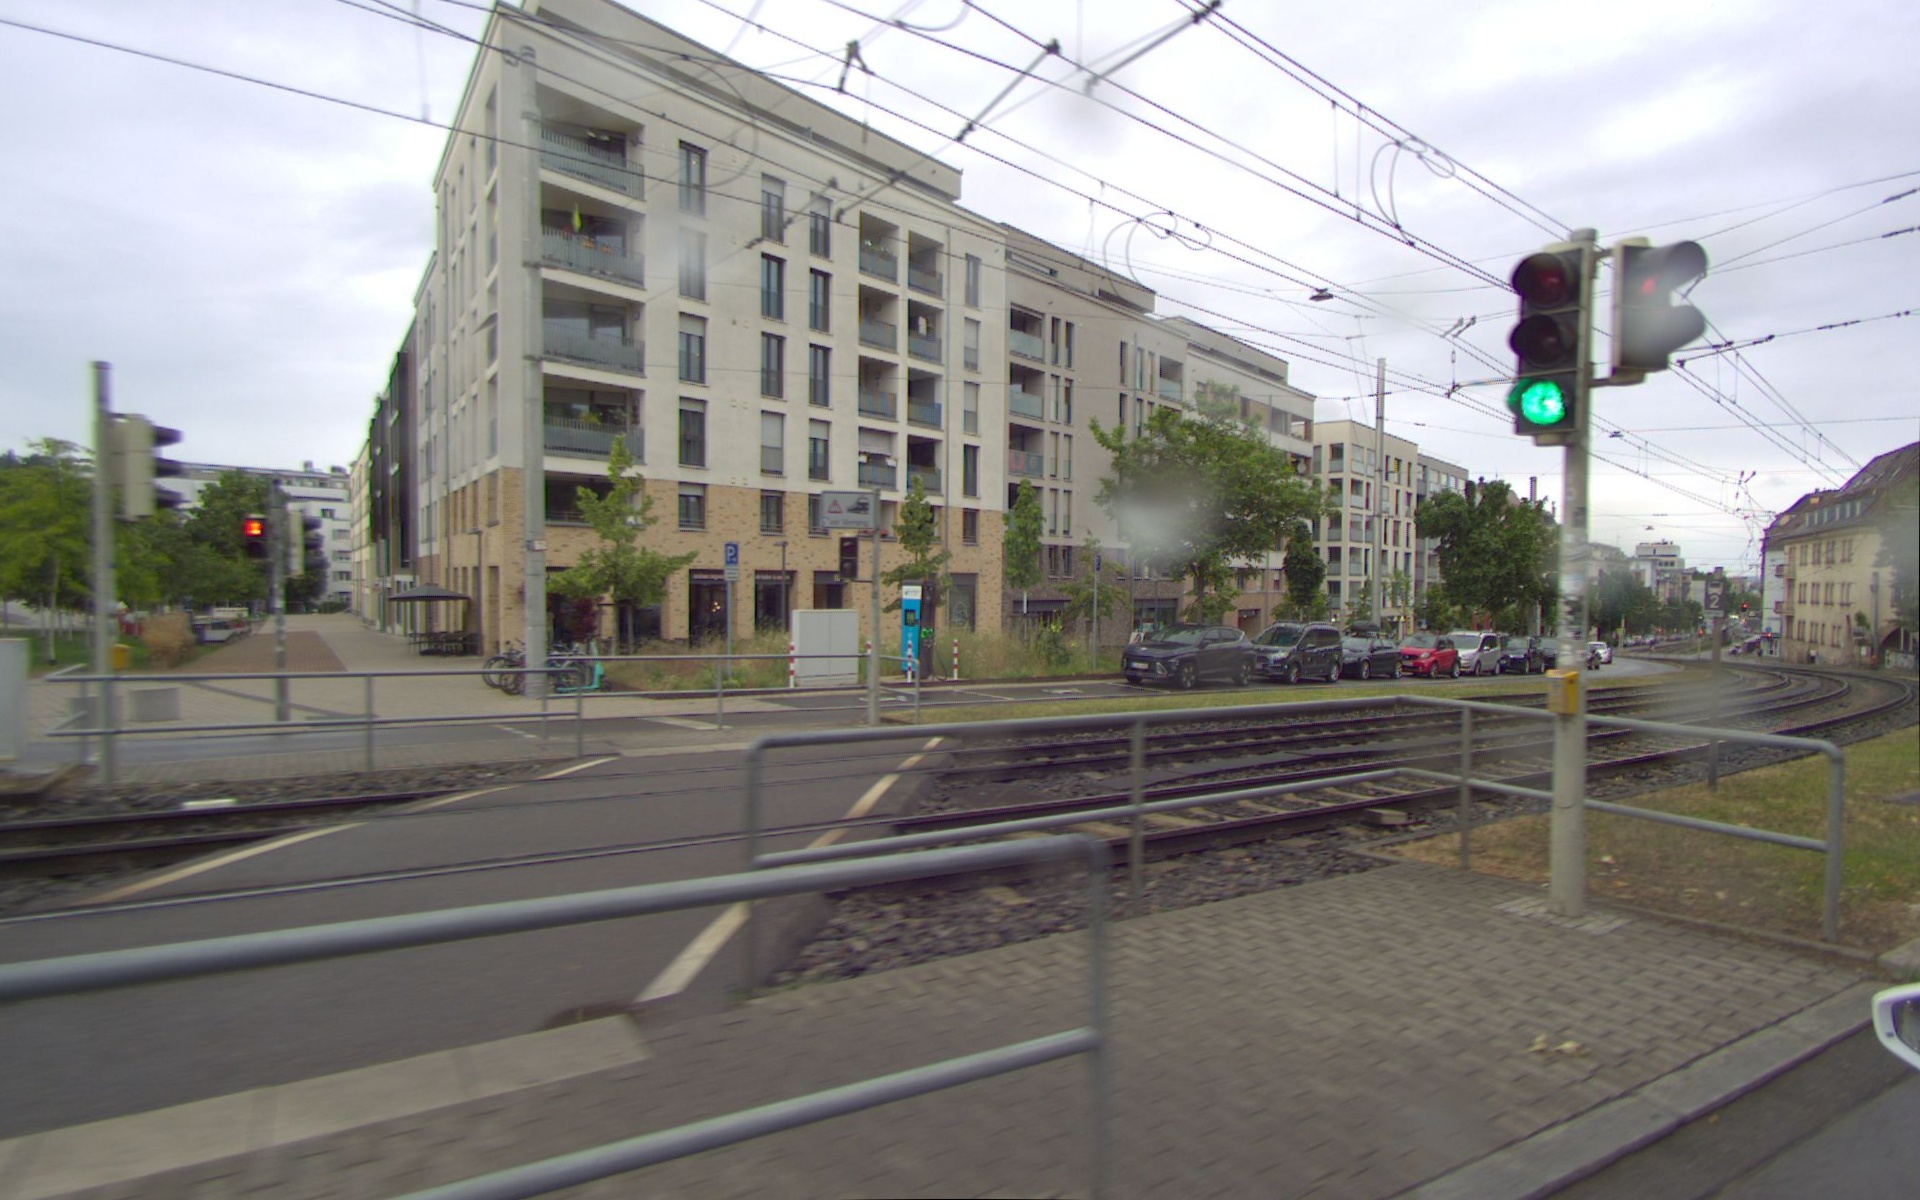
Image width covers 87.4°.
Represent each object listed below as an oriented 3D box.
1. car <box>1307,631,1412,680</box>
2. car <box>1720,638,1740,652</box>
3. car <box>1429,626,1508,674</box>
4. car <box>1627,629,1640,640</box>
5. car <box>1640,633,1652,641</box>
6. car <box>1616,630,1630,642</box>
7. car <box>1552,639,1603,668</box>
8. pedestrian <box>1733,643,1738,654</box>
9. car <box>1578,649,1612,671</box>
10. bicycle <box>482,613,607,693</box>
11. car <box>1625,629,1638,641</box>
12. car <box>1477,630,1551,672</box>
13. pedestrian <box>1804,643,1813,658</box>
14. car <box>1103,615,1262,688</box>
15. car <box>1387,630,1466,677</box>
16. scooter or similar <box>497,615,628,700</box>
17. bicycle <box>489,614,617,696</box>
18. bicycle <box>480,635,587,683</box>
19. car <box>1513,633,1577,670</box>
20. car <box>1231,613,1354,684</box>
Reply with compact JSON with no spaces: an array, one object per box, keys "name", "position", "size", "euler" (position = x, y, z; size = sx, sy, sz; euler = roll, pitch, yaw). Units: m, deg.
[{"name":"car","position":[13.410,1.828,33.579],"size":[4.369,1.466,1.535],"euler":[3,0,-44]},{"name":"car","position":[105.940,6.151,138.133],"size":[1.970,1.795,3.981],"euler":[1,-1,40]},{"name":"car","position":[20.266,1.989,39.982],"size":[1.645,1.771,4.232],"euler":[1,-1,44]},{"name":"car","position":[130.383,6.617,194.517],"size":[1.967,2.040,3.988],"euler":[1,-1,35]},{"name":"car","position":[139.451,7.534,204.267],"size":[1.967,1.684,3.988],"euler":[1,-1,35]},{"name":"car","position":[119.474,6.499,181.061],"size":[1.967,2.040,3.988],"euler":[1,-1,35]},{"name":"car","position":[34.589,2.984,56.204],"size":[1.942,1.450,4.182],"euler":[2,-1,39]},{"name":"pedestrian","position":[95.326,5.990,123.470],"size":[0.502,1.333,0.505],"euler":[1,-1,32]},{"name":"car","position":[45.725,4.277,72.322],"size":[1.743,1.498,3.721],"euler":[0,-2,37]},{"name":"bicycle","position":[-8.833,1.121,21.427],"size":[2.339,1.617,0.670],"euler":[2,-1,-37]},{"name":"car","position":[124.797,6.473,186.650],"size":[1.967,2.040,3.988],"euler":[1,-1,35]},{"name":"car","position":[24.152,2.207,43.730],"size":[1.713,1.666,4.505],"euler":[2,-1,43]},{"name":"pedestrian","position":[80.342,4.777,95.105],"size":[0.497,1.333,0.510],"euler":[1,-1,30]},{"name":"car","position":[5.848,1.317,26.153],"size":[4.186,1.626,1.974],"euler":[3,1,-43]},{"name":"car","position":[16.874,1.918,36.316],"size":[2.907,1.551,1.457],"euler":[2,1,-40]},{"name":"scooter or similar","position":[-7.977,1.146,20.241],"size":[2.339,1.617,0.595],"euler":[2,-1,-37]},{"name":"bicycle","position":[-8.386,1.124,20.784],"size":[2.339,1.617,0.670],"euler":[2,-1,-37]},{"name":"bicycle","position":[-9.794,1.339,23.104],"size":[2.207,1.061,0.472],"euler":[2,-1,-34]},{"name":"car","position":[27.928,2.428,47.907],"size":[1.782,1.604,4.675],"euler":[2,-1,41]},{"name":"car","position":[9.895,1.433,29.719],"size":[4.304,1.884,1.566],"euler":[3,0,-44]}]
